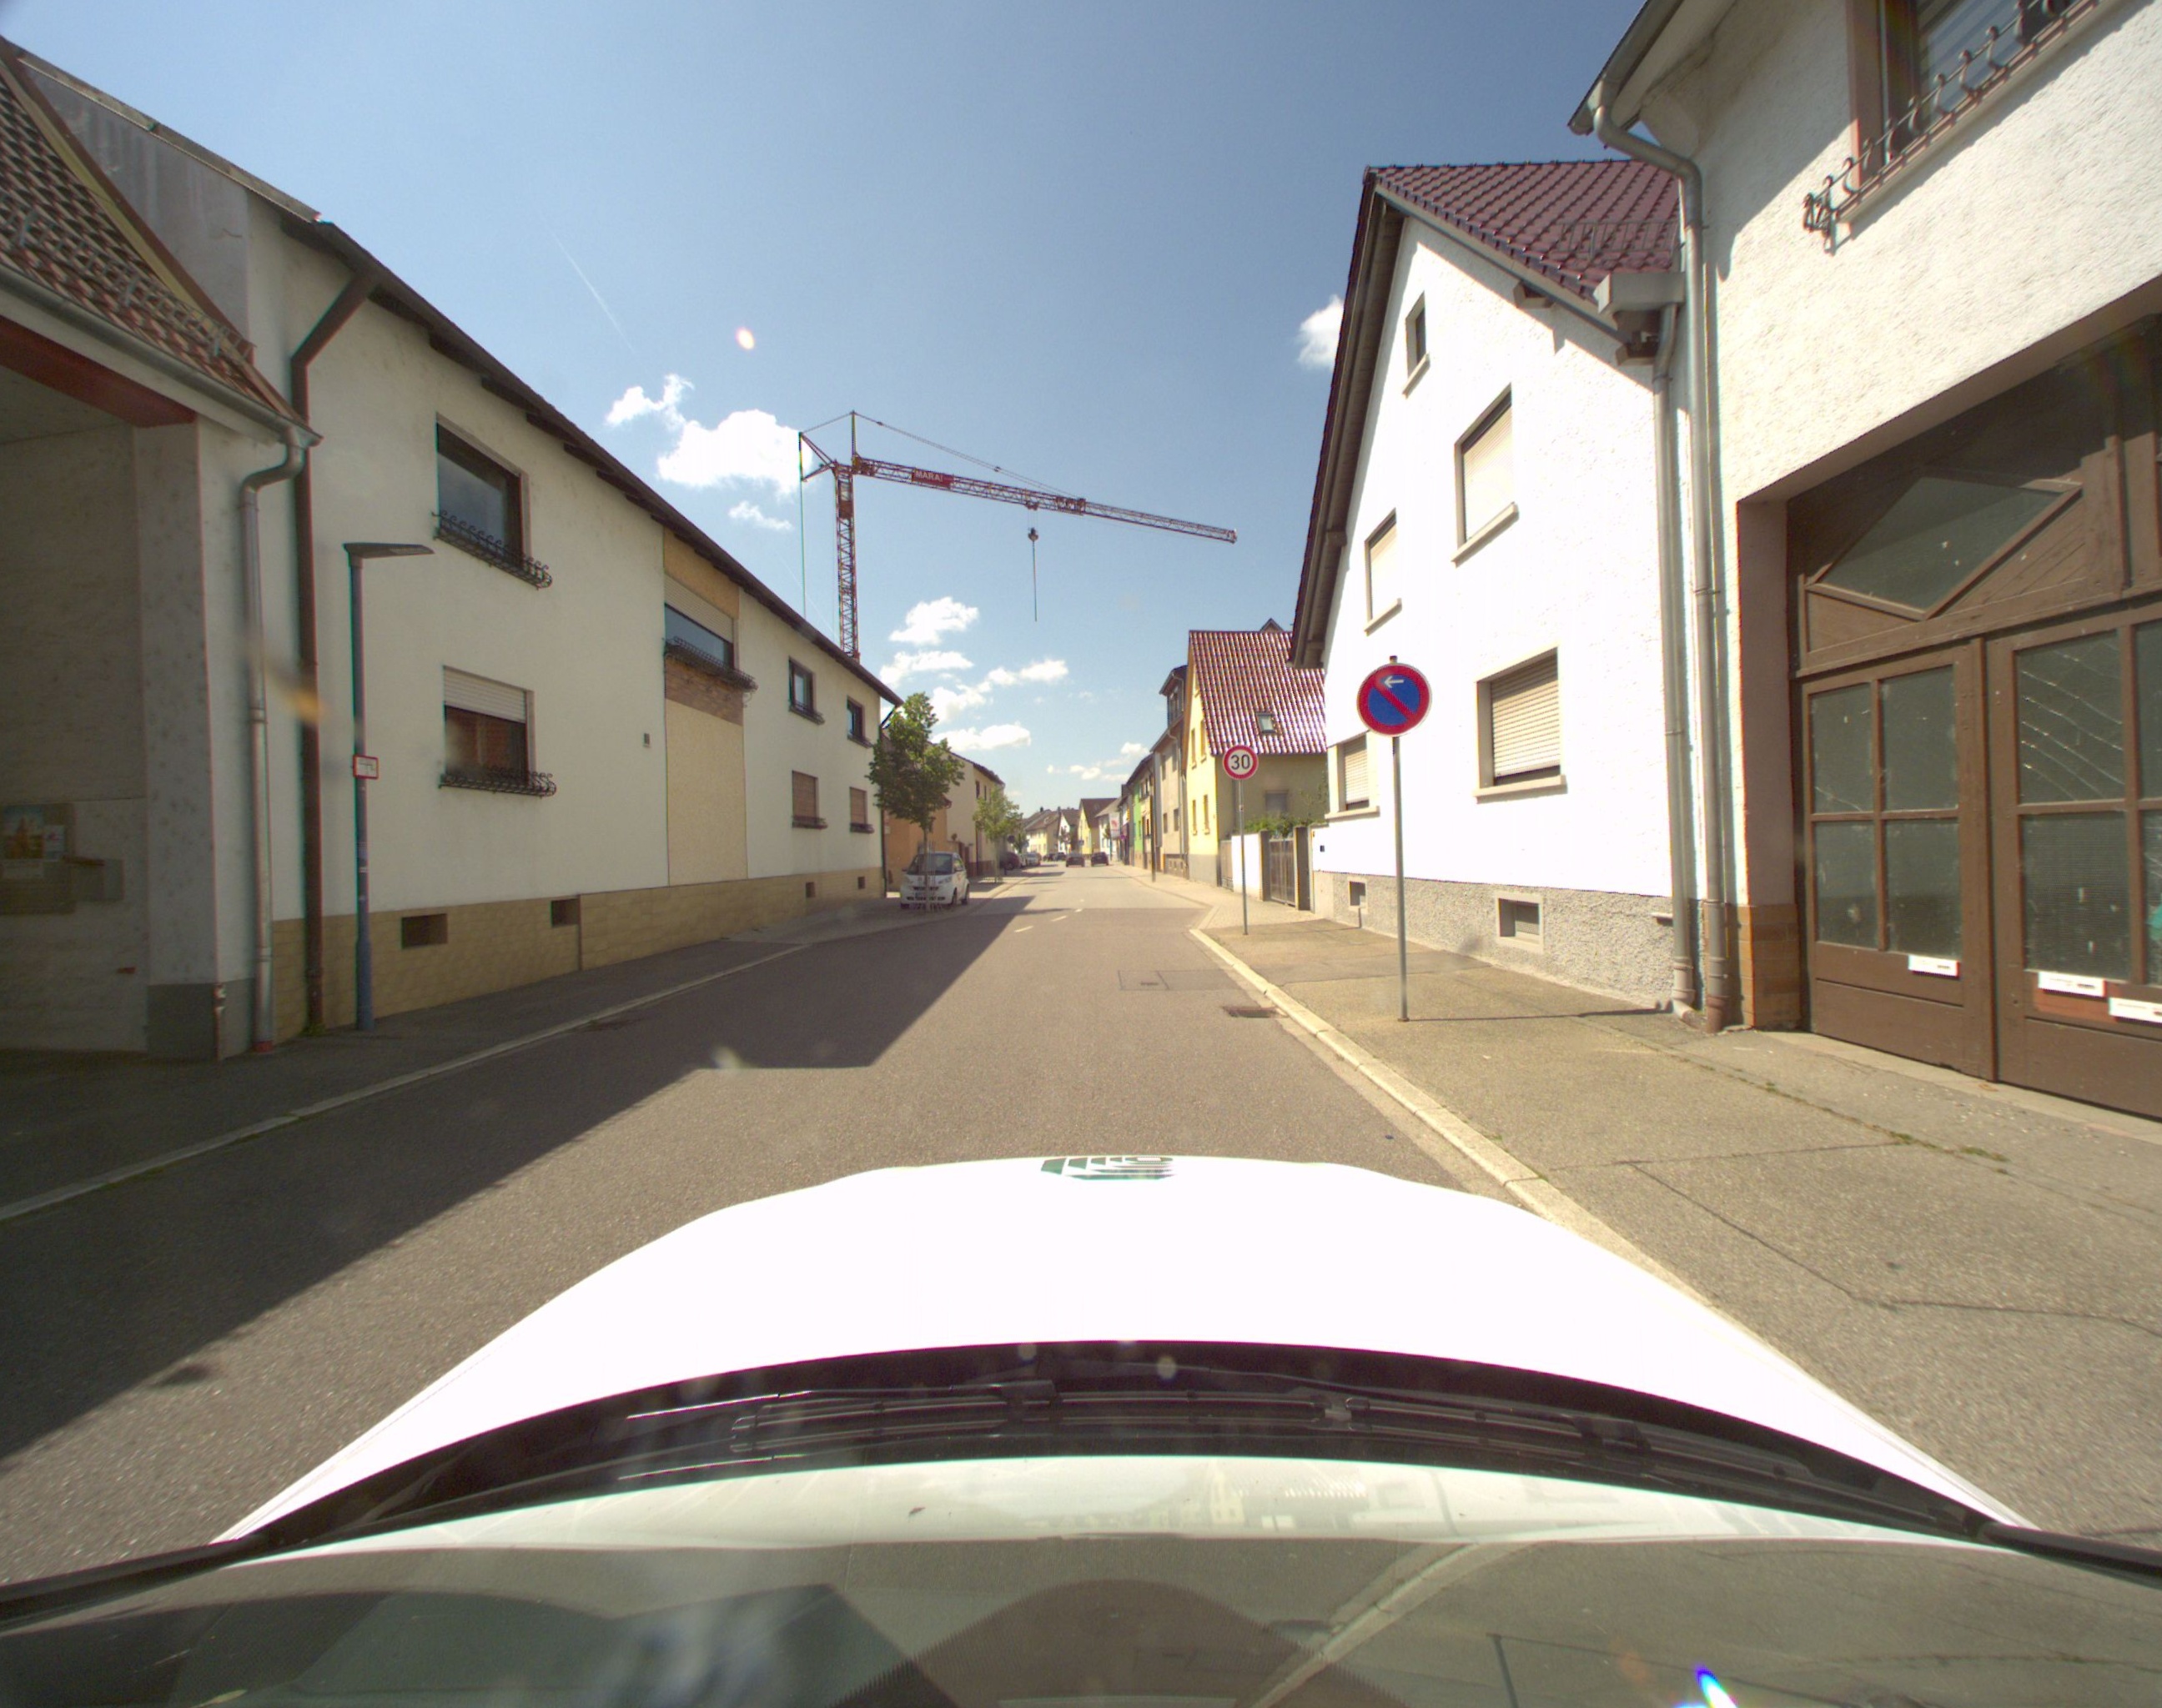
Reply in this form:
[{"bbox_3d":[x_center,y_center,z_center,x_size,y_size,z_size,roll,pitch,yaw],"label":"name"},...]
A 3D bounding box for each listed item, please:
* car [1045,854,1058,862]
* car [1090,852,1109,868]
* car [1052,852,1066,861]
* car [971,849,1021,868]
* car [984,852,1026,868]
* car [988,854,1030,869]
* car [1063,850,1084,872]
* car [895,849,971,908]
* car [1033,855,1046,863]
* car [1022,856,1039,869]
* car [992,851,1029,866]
[{"bbox_3d":[-5.384,0.659,147.520,1.712,1.387,3.690,-2,0,-12],"label":"car"},{"bbox_3d":[1.915,0.551,83.557,1.851,1.459,4.587,-4,0,2],"label":"car"},{"bbox_3d":[-3.778,0.452,139.837,1.848,1.562,3.678,-2,0,-12],"label":"car"},{"bbox_3d":[-7.413,0.363,71.189,4.207,1.658,1.783,0,0,-1],"label":"car"},{"bbox_3d":[-7.342,0.562,79.093,3.887,1.502,1.751,0,0,1],"label":"car"},{"bbox_3d":[-7.187,0.763,81.574,3.975,1.441,1.691,1,0,-1],"label":"car"},{"bbox_3d":[-0.750,0.655,81.165,1.988,2.057,4.372,-2,0,-1],"label":"car"},{"bbox_3d":[-4.117,0.656,23.040,1.567,1.561,2.823,0,0,1],"label":"car"},{"bbox_3d":[-8.231,0.941,160.724,1.879,1.591,3.983,-2,0,-12],"label":"car"},{"bbox_3d":[-5.705,0.907,92.582,1.752,1.411,3.877,0,0,0],"label":"car"},{"bbox_3d":[-7.323,0.482,84.466,3.680,1.525,1.672,0,0,0],"label":"car"}]
